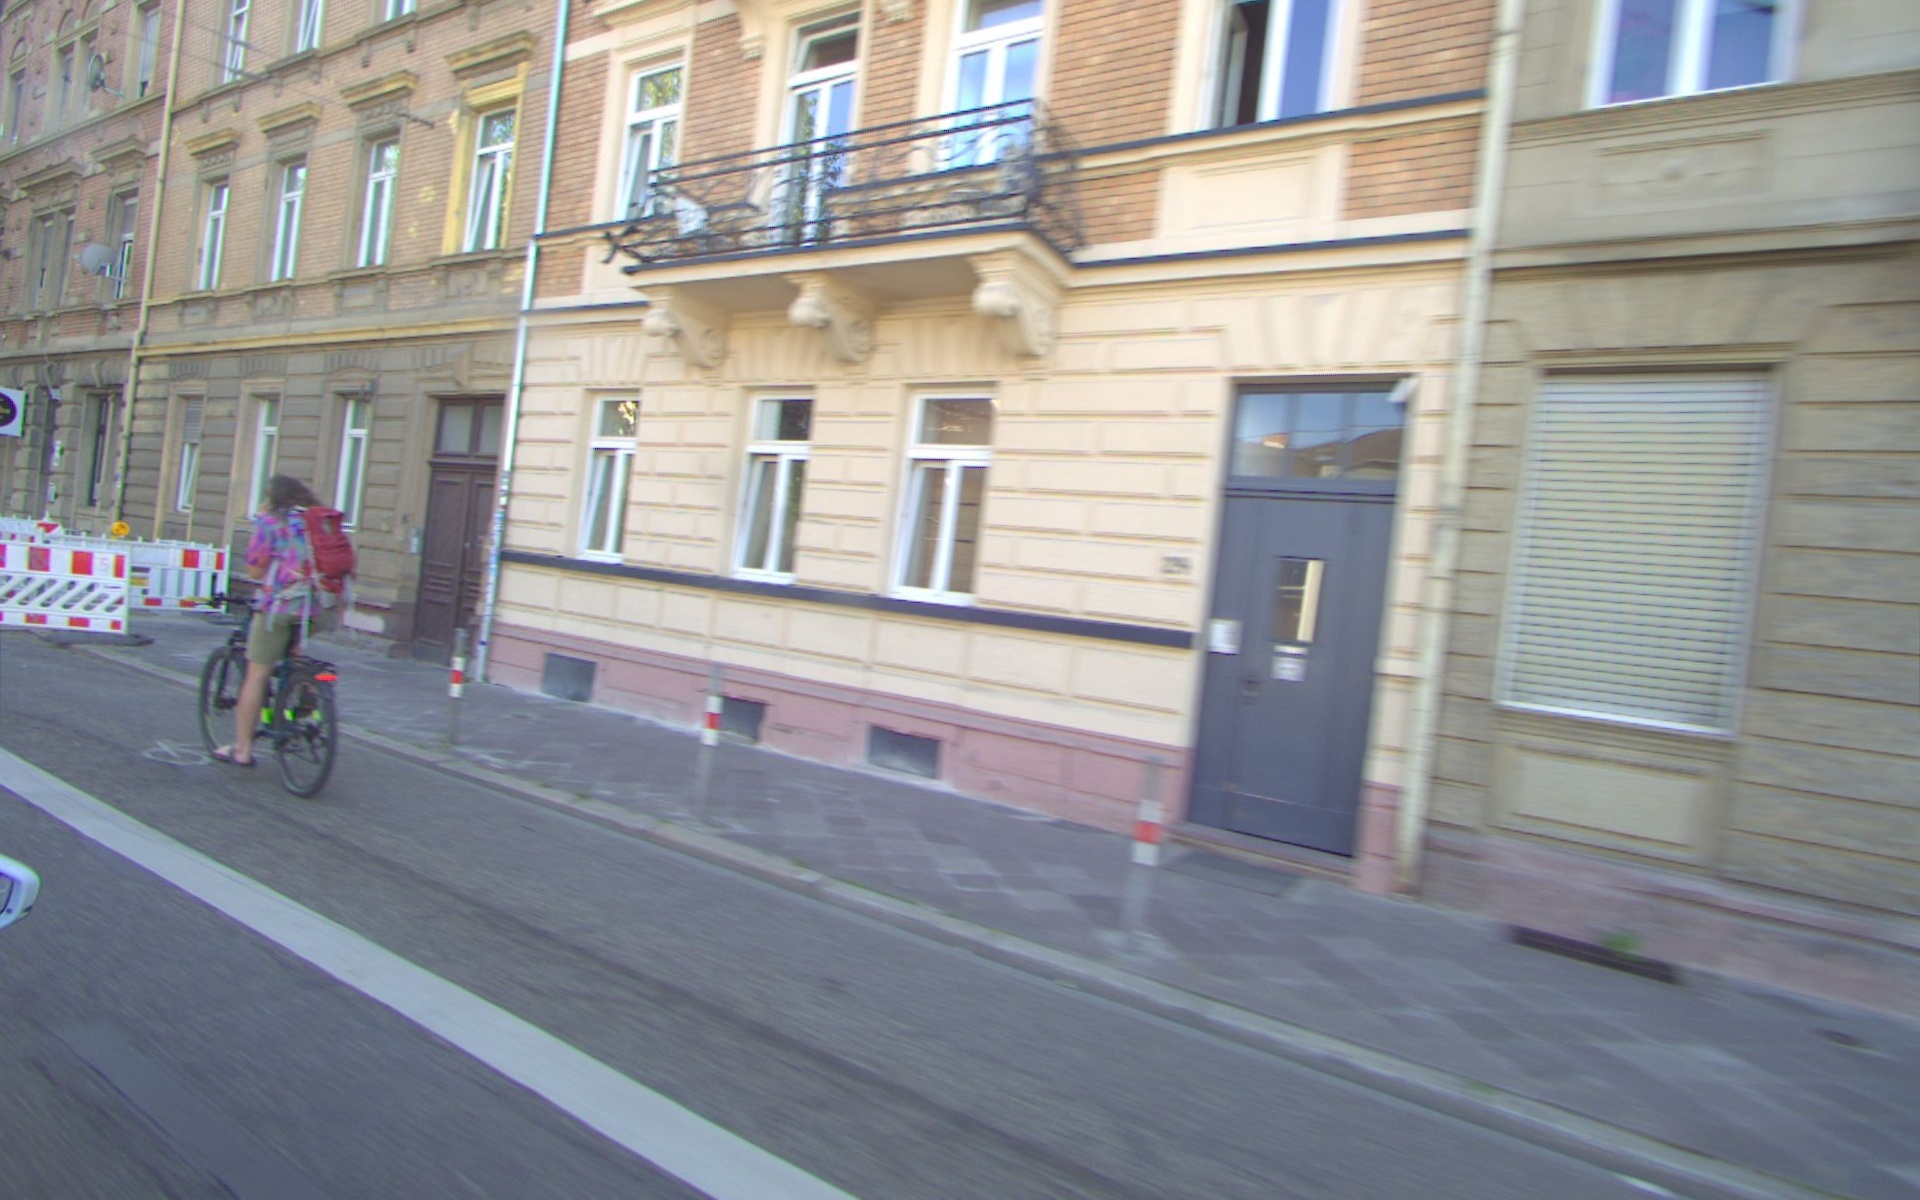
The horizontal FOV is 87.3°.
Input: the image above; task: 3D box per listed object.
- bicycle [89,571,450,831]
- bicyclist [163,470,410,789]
[{"bbox_3d":[-4.268,0.532,6.114,2.662,1.127,0.682,6,-2,32],"label":"bicycle"},{"bbox_3d":[-4.008,0.158,5.990,1.026,1.716,0.668,6,-2,32],"label":"bicyclist"}]
